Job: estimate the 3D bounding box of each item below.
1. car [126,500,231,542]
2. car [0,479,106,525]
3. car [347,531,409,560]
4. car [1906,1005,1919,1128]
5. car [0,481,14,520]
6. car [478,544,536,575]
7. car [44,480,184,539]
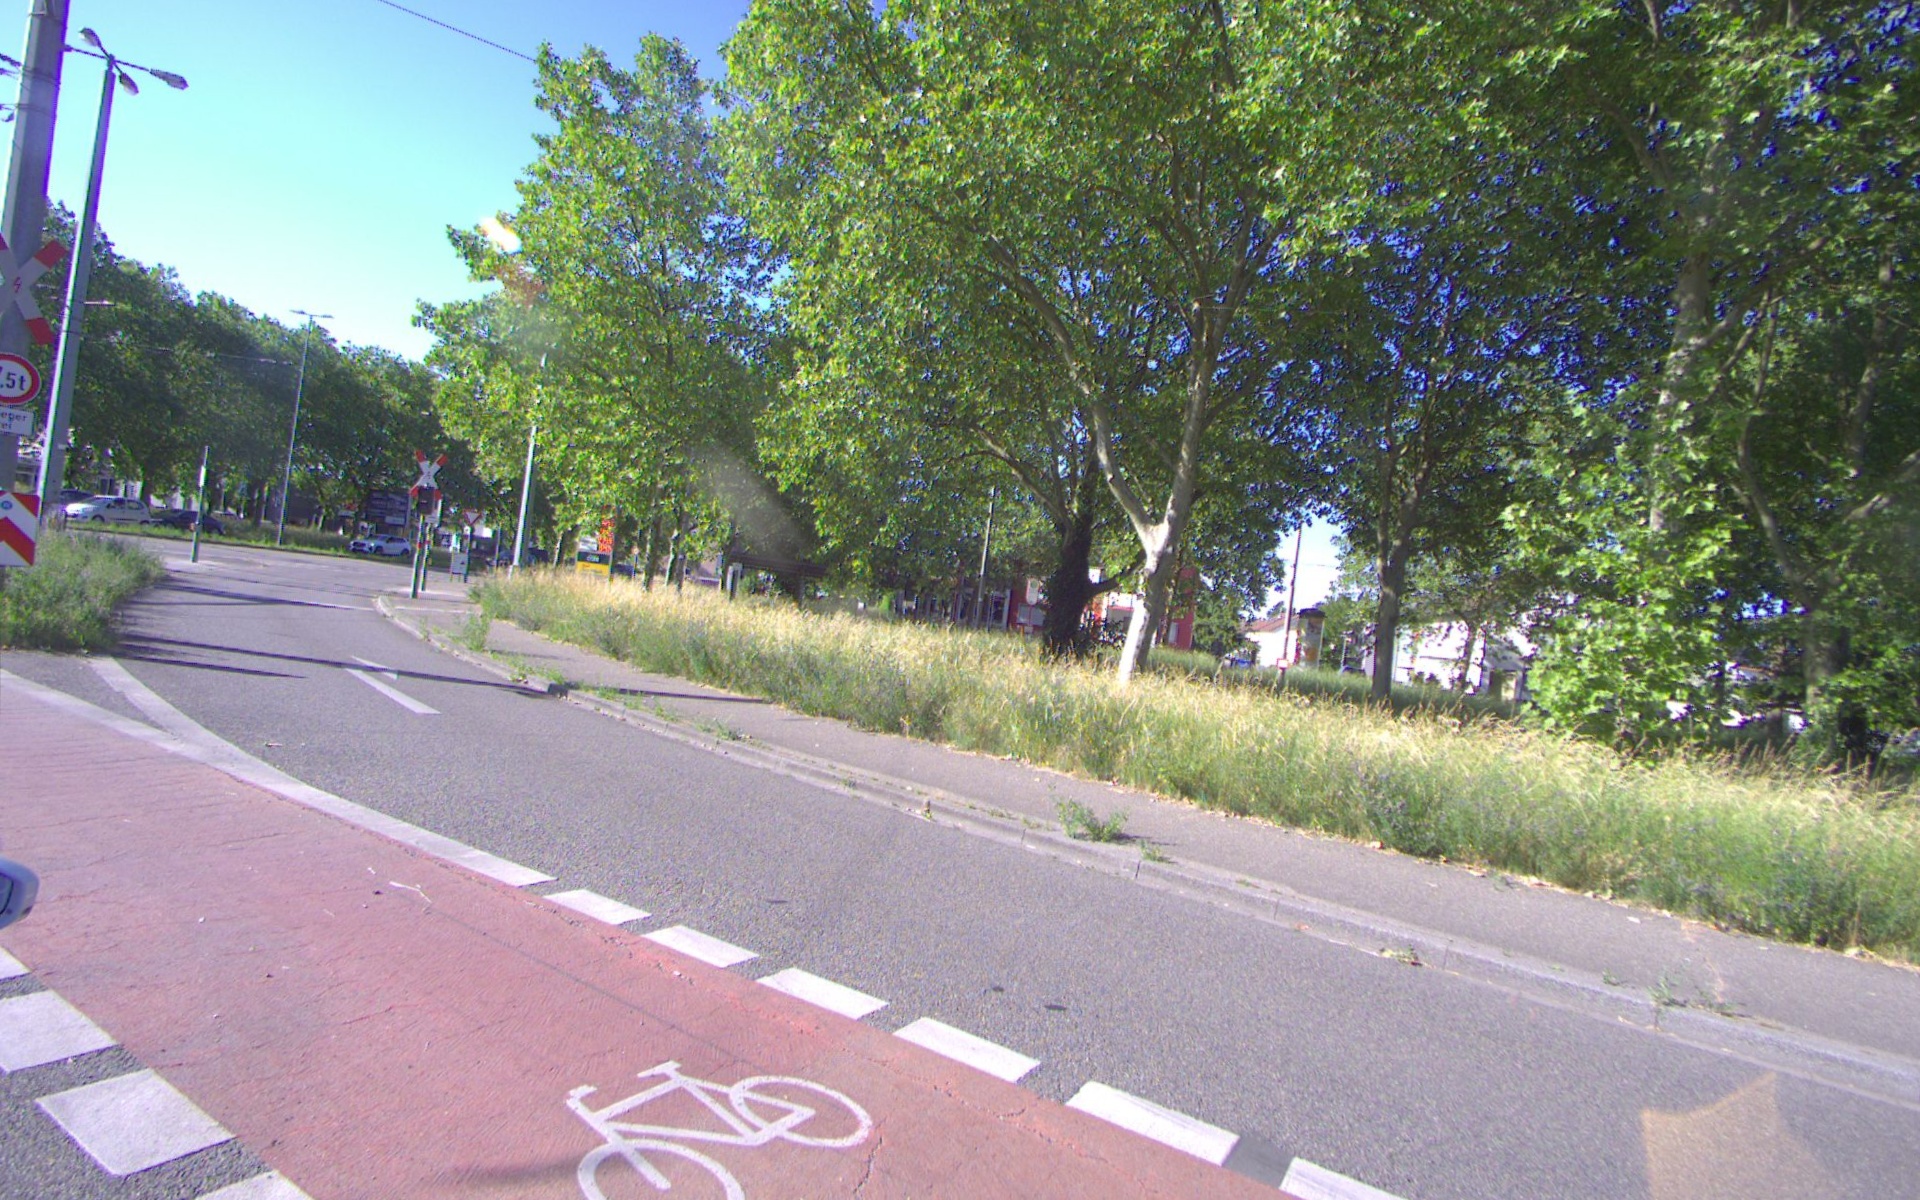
[{"bbox_3d":[-42.937,-4.304,55.427,1.661,1.593,4.528,7,-1,9],"label":"car"},{"bbox_3d":[-44.103,-4.723,48.920,1.462,1.589,3.758,7,-1,9],"label":"car"},{"bbox_3d":[-41.174,-3.819,71.247,1.563,1.519,4.002,7,-1,7],"label":"car"},{"bbox_3d":[5.311,1.420,2.141,4.427,1.650,1.767,7,0,35],"label":"car"},{"bbox_3d":[-41.048,-4.320,40.580,1.575,1.549,4.002,7,0,9],"label":"car"},{"bbox_3d":[-33.864,-2.993,75.340,1.821,1.796,4.217,7,-1,7],"label":"car"},{"bbox_3d":[-40.474,-4.284,48.303,1.962,2.038,4.907,7,-1,9],"label":"car"}]
